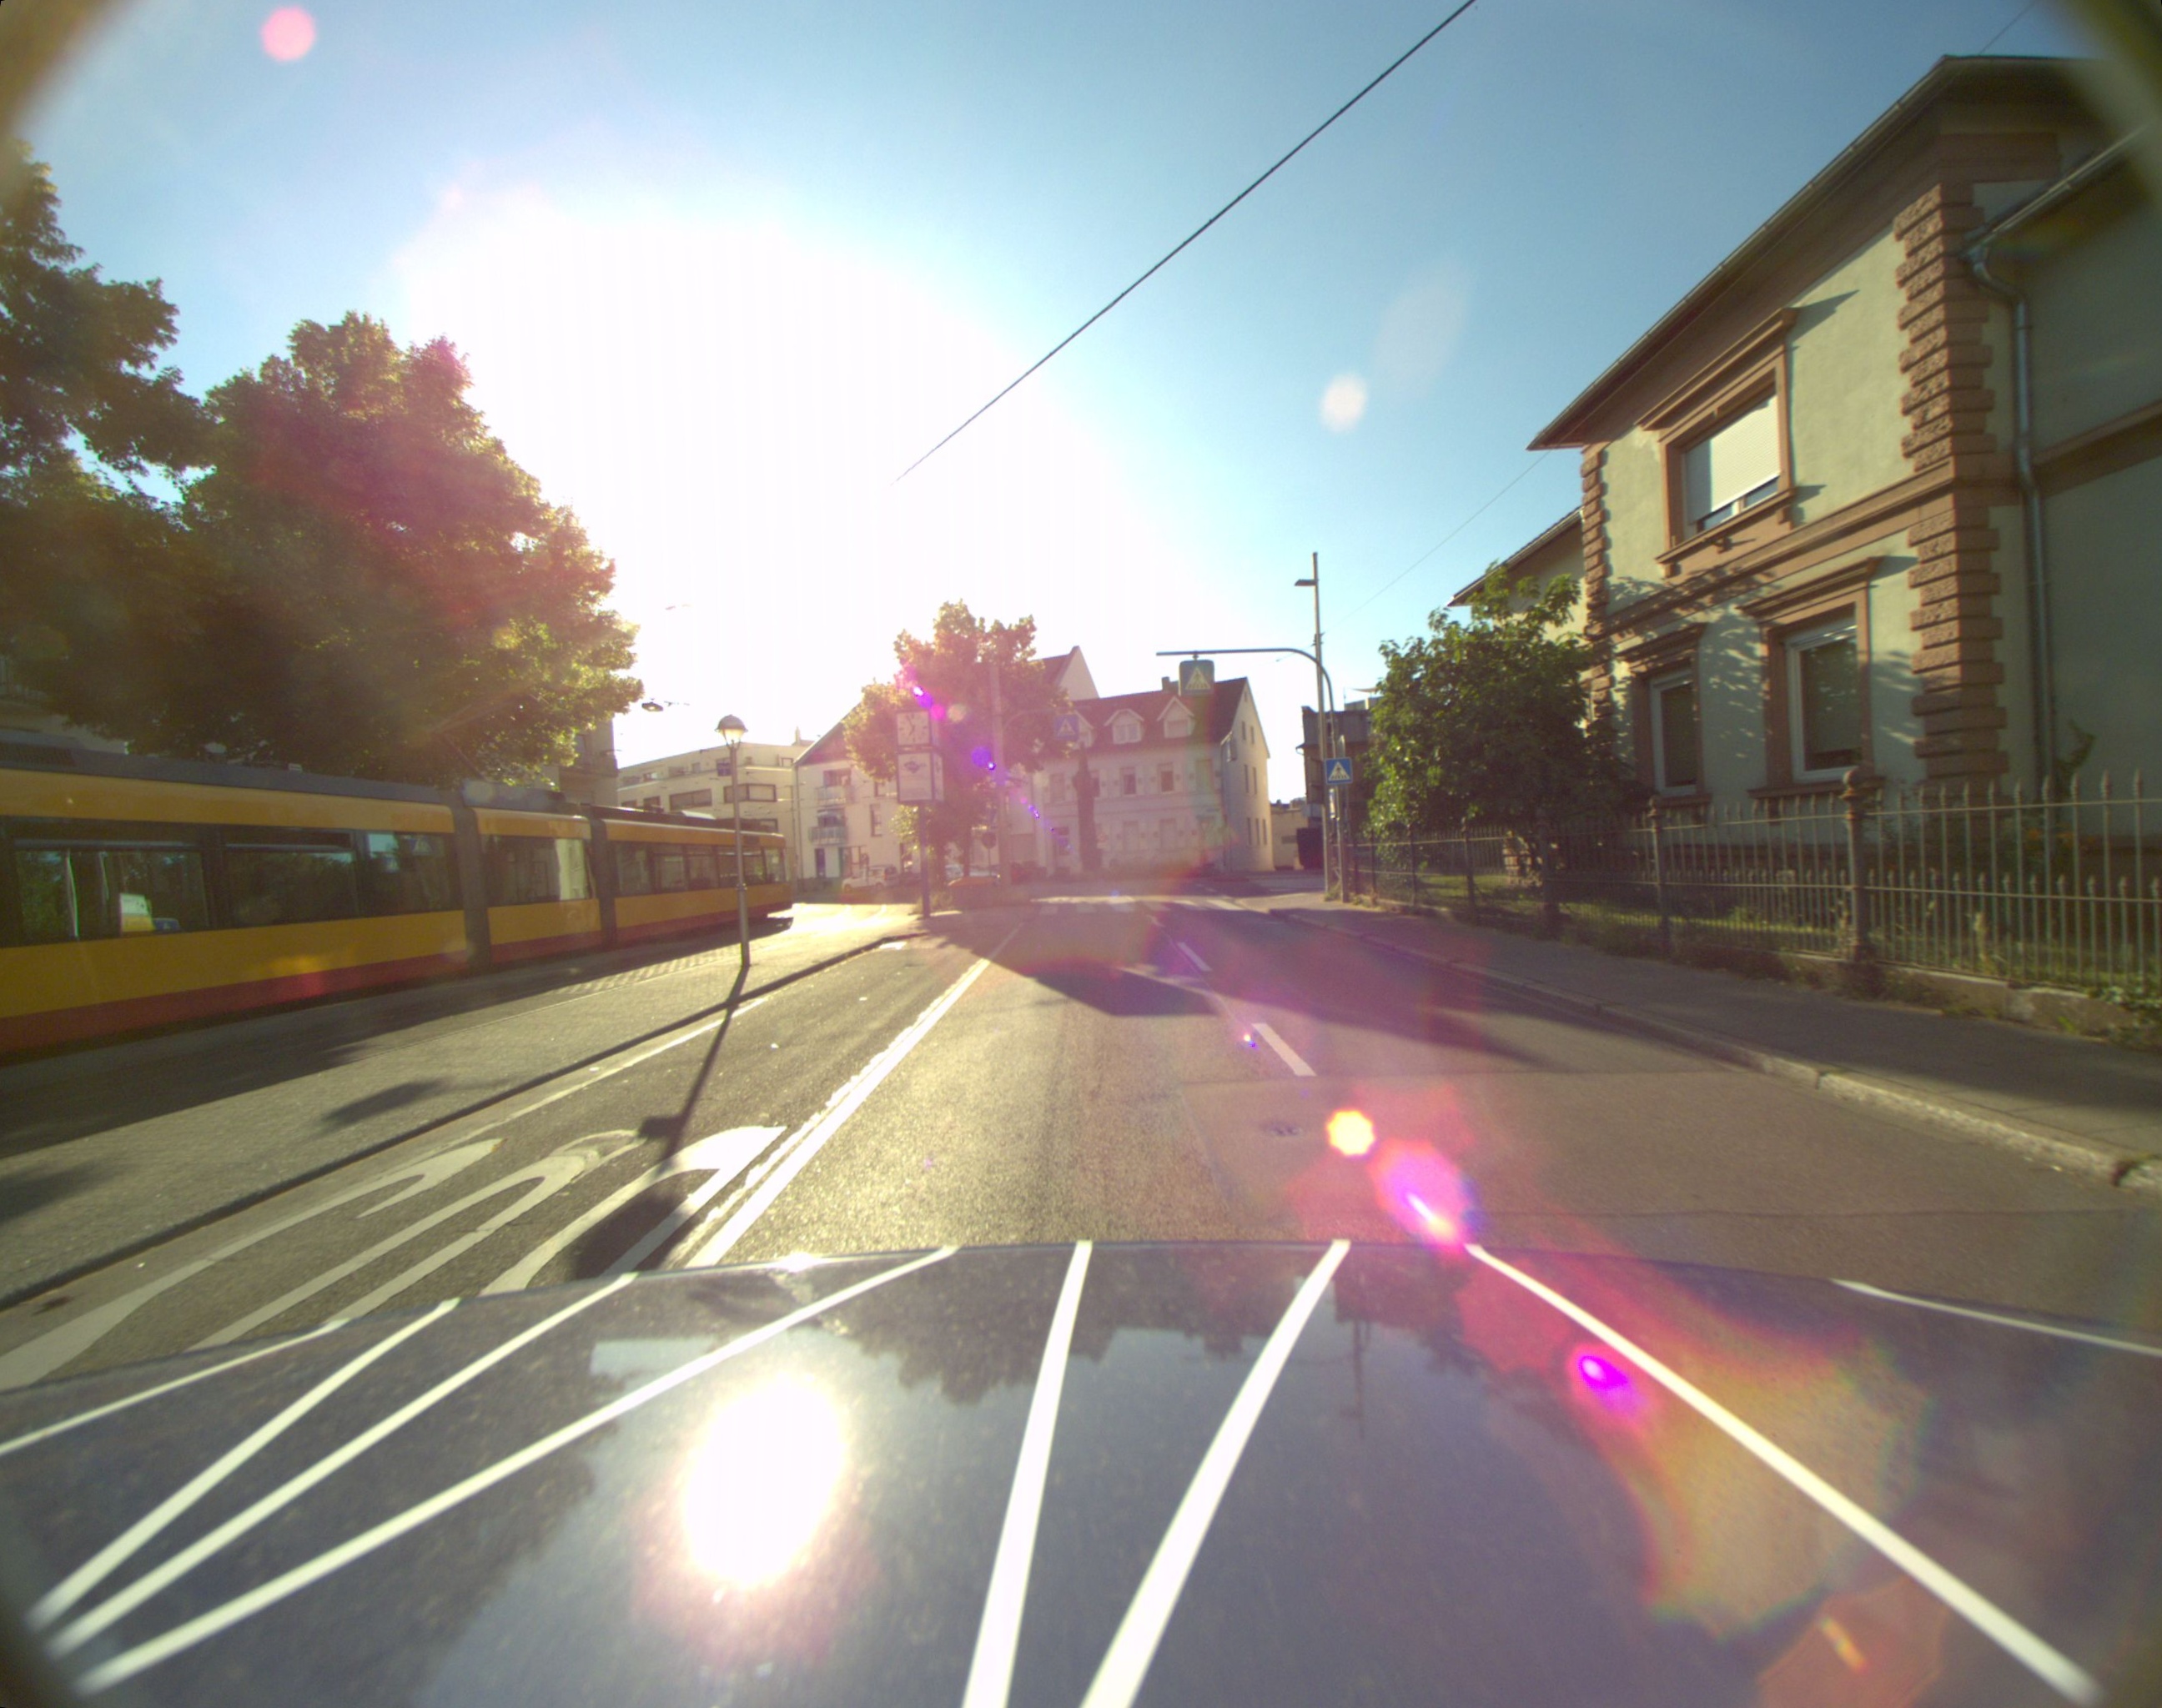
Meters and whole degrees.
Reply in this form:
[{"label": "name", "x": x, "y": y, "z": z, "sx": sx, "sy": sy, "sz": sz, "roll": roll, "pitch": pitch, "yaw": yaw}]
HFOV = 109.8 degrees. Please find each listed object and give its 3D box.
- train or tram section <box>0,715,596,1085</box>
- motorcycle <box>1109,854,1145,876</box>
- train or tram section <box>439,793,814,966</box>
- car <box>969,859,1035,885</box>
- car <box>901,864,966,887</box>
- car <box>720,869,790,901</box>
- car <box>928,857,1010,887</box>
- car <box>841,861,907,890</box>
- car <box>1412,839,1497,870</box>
[{"label": "train or tram section", "x": -11.425, "y": 0.467, "z": 7.529, "sx": 2.965, "sy": 3.401, "sz": 15.939, "roll": -2, "pitch": 0, "yaw": 0}, {"label": "motorcycle", "x": 2.827, "y": 0.670, "z": 47.084, "sx": 2.104, "sy": 1.220, "sz": 0.625, "roll": -3, "pitch": 1, "yaw": 28}, {"label": "train or tram section", "x": -11.567, "y": 0.550, "z": 22.124, "sx": 2.965, "sy": 3.401, "sz": 13.463, "roll": -2, "pitch": 0, "yaw": -1}, {"label": "car", "x": -5.315, "y": 1.229, "z": 51.074, "sx": 4.196, "sy": 1.453, "sz": 1.610, "roll": -5, "pitch": 0, "yaw": 32}, {"label": "car", "x": -10.429, "y": 1.532, "z": 53.618, "sx": 4.116, "sy": 1.339, "sz": 1.938, "roll": -4, "pitch": 0, "yaw": 28}, {"label": "car", "x": -23.086, "y": 2.195, "z": 53.789, "sx": 4.781, "sy": 1.921, "sz": 1.875, "roll": -5, "pitch": 0, "yaw": 28}, {"label": "car", "x": -6.190, "y": 0.990, "z": 41.722, "sx": 4.437, "sy": 1.453, "sz": 2.004, "roll": -3, "pitch": 0, "yaw": 43}, {"label": "car", "x": -15.249, "y": 1.603, "z": 56.023, "sx": 4.263, "sy": 1.945, "sz": 2.003, "roll": -2, "pitch": 0, "yaw": 20}, {"label": "car", "x": 20.929, "y": 0.025, "z": 42.642, "sx": 3.879, "sy": 1.445, "sz": 1.702, "roll": -3, "pitch": 0, "yaw": 4}]
